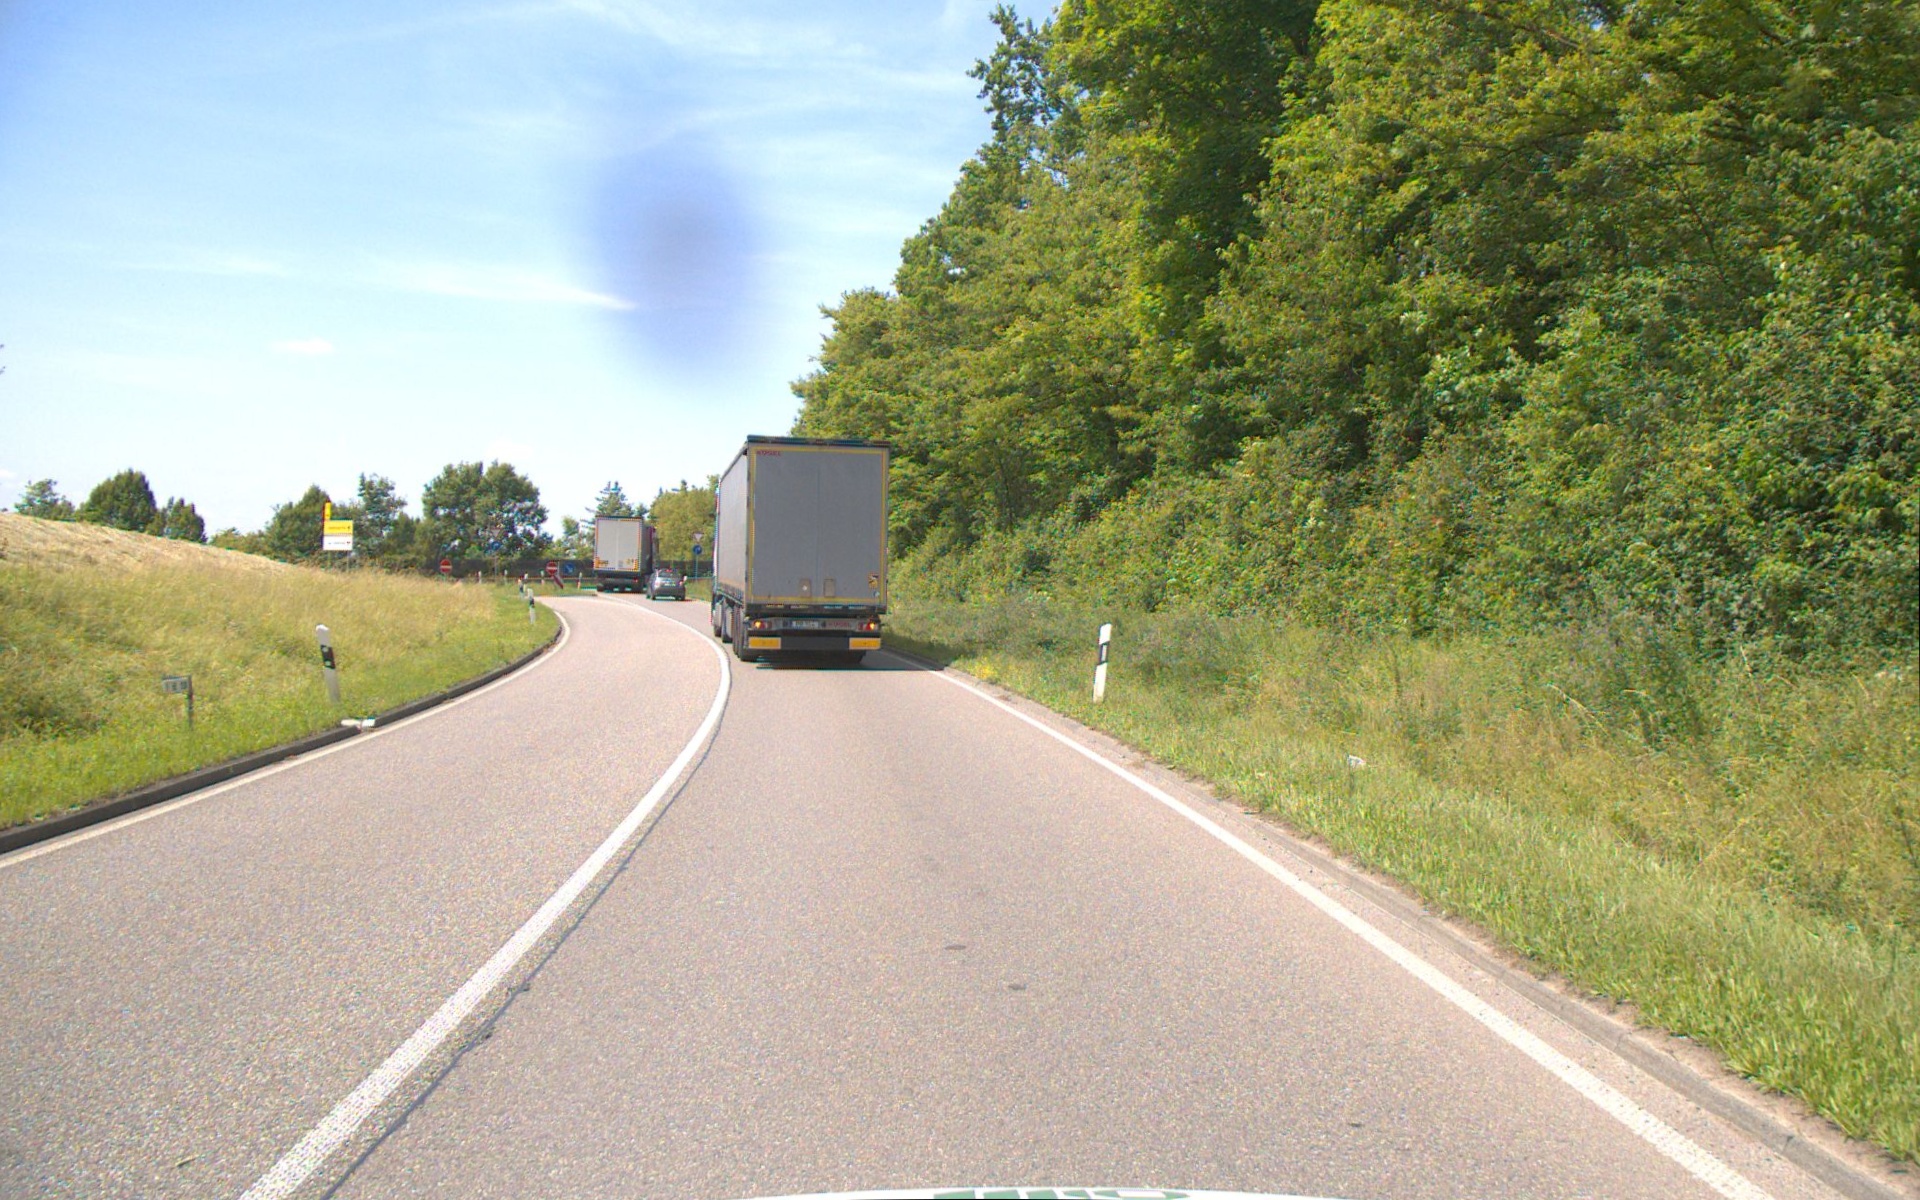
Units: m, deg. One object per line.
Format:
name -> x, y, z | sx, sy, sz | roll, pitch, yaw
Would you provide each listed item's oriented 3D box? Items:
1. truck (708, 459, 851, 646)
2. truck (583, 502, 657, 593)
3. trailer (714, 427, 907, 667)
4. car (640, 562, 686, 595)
truck -> -4.719, -1.096, 41.977 | 3.096, 4.298, 7.105 | 1, 0, -10
truck -> -19.657, -2.922, 96.447 | 3.759, 4.827, 16.164 | 0, 1, -10
trailer -> -3.542, -0.938, 35.157 | 2.972, 4.105, 13.321 | 1, 0, -10
car -> -14.353, -1.033, 79.821 | 1.640, 1.512, 3.980 | 0, 1, -18
